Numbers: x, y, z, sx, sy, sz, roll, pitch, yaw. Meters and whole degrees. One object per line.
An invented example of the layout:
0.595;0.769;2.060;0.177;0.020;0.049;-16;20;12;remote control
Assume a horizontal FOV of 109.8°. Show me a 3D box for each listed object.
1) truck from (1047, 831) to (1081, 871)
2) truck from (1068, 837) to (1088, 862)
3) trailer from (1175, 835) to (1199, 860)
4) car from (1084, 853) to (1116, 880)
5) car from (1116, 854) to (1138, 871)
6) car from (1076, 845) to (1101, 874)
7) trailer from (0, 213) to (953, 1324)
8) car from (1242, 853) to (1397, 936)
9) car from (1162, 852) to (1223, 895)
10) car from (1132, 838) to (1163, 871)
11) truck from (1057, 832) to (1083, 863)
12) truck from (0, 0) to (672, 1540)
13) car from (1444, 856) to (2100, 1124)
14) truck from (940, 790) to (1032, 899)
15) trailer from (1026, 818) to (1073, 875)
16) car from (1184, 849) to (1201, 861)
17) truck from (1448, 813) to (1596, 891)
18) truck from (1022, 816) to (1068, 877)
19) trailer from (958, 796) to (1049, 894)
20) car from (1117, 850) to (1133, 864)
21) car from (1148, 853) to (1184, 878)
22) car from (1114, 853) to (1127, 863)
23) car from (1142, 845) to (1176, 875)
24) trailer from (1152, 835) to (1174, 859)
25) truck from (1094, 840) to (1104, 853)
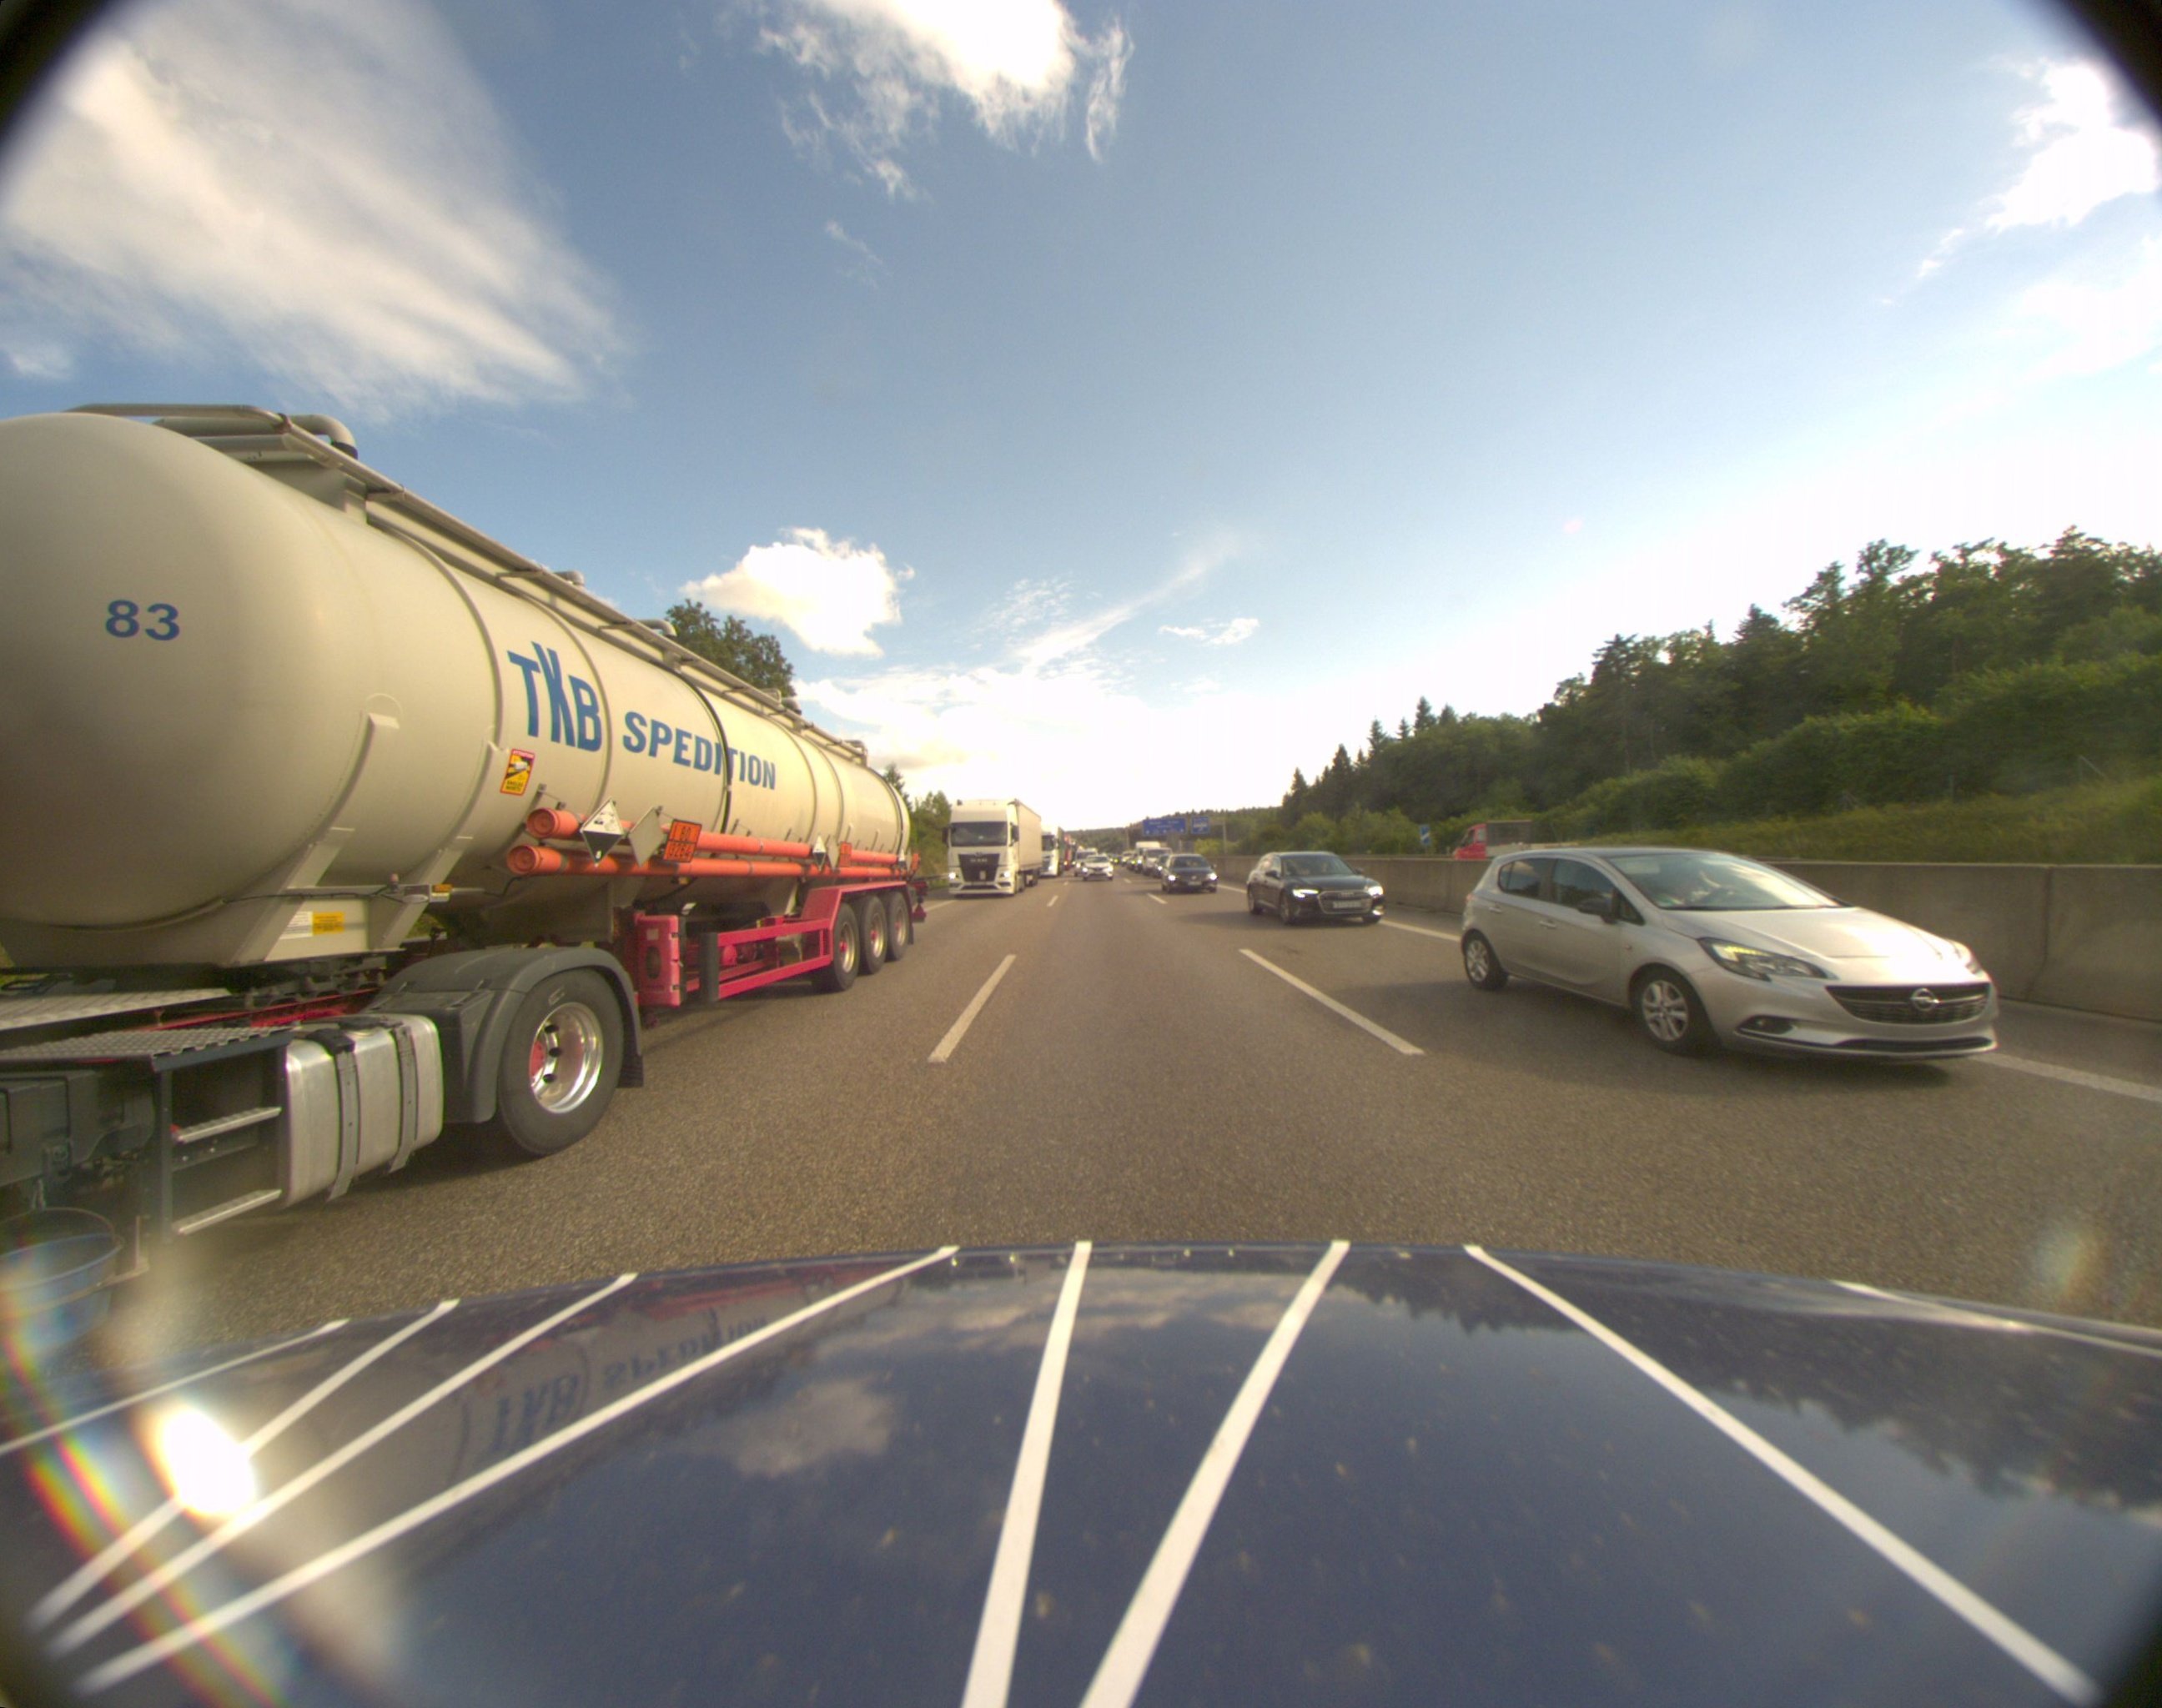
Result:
-1.777;-0.404;85.807;2.840;4.178;12.045;-2;1;3;truck
-0.434;-0.897;138.781;2.840;4.178;12.045;-2;1;3;truck
22.218;-1.418;160.764;2.934;4.802;14.651;-2;1;0;trailer
1.161;0.739;46.837;1.809;1.488;4.666;-1;0;1;car
4.072;0.715;67.798;1.809;1.423;3.660;-2;0;1;car
0.596;0.406;58.708;1.809;2.052;4.770;-2;0;1;car
-3.970;-0.295;8.374;2.805;4.003;11.182;-2;0;2;trailer
4.899;0.742;16.397;1.887;1.463;4.852;-2;0;2;car
4.266;0.700;29.731;1.915;1.469;4.569;-2;0;3;car
5.414;0.003;62.299;2.054;2.557;5.861;-1;0;1;car
-1.474;-0.926;110.466;2.840;4.178;12.045;-2;1;3;truck
-4.166;-0.253;1.913;2.809;4.020;5.904;-2;1;2;truck
4.825;0.767;6.263;1.751;1.457;4.041;-1;0;0;car
-3.765;-0.368;31.458;2.841;4.048;5.707;-2;1;2;truck
-2.418;-0.574;63.157;2.841;4.177;13.613;-2;0;1;trailer
17.369;0.157;118.357;1.857;1.799;4.624;-2;0;0;car
18.116;-0.080;31.766;2.429;2.838;6.430;-2;0;0;truck
-2.578;-0.520;55.865;2.841;4.177;5.707;-2;0;1;truck
-3.551;-0.427;38.862;2.833;4.047;13.372;-2;0;2;trailer
5.754;0.373;100.278;1.920;1.785;3.811;-2;0;1;car
5.221;0.662;47.012;1.809;1.423;3.994;-2;0;1;car
6.064;0.577;116.867;1.920;1.535;3.811;-2;0;1;car
5.458;0.422;53.711;1.947;1.953;4.848;-2;0;1;car
18.104;-1.565;168.549;3.096;5.044;13.832;-2;1;0;trailer
5.952;-2.662;254.344;2.840;4.178;12.045;-2;1;3;truck
